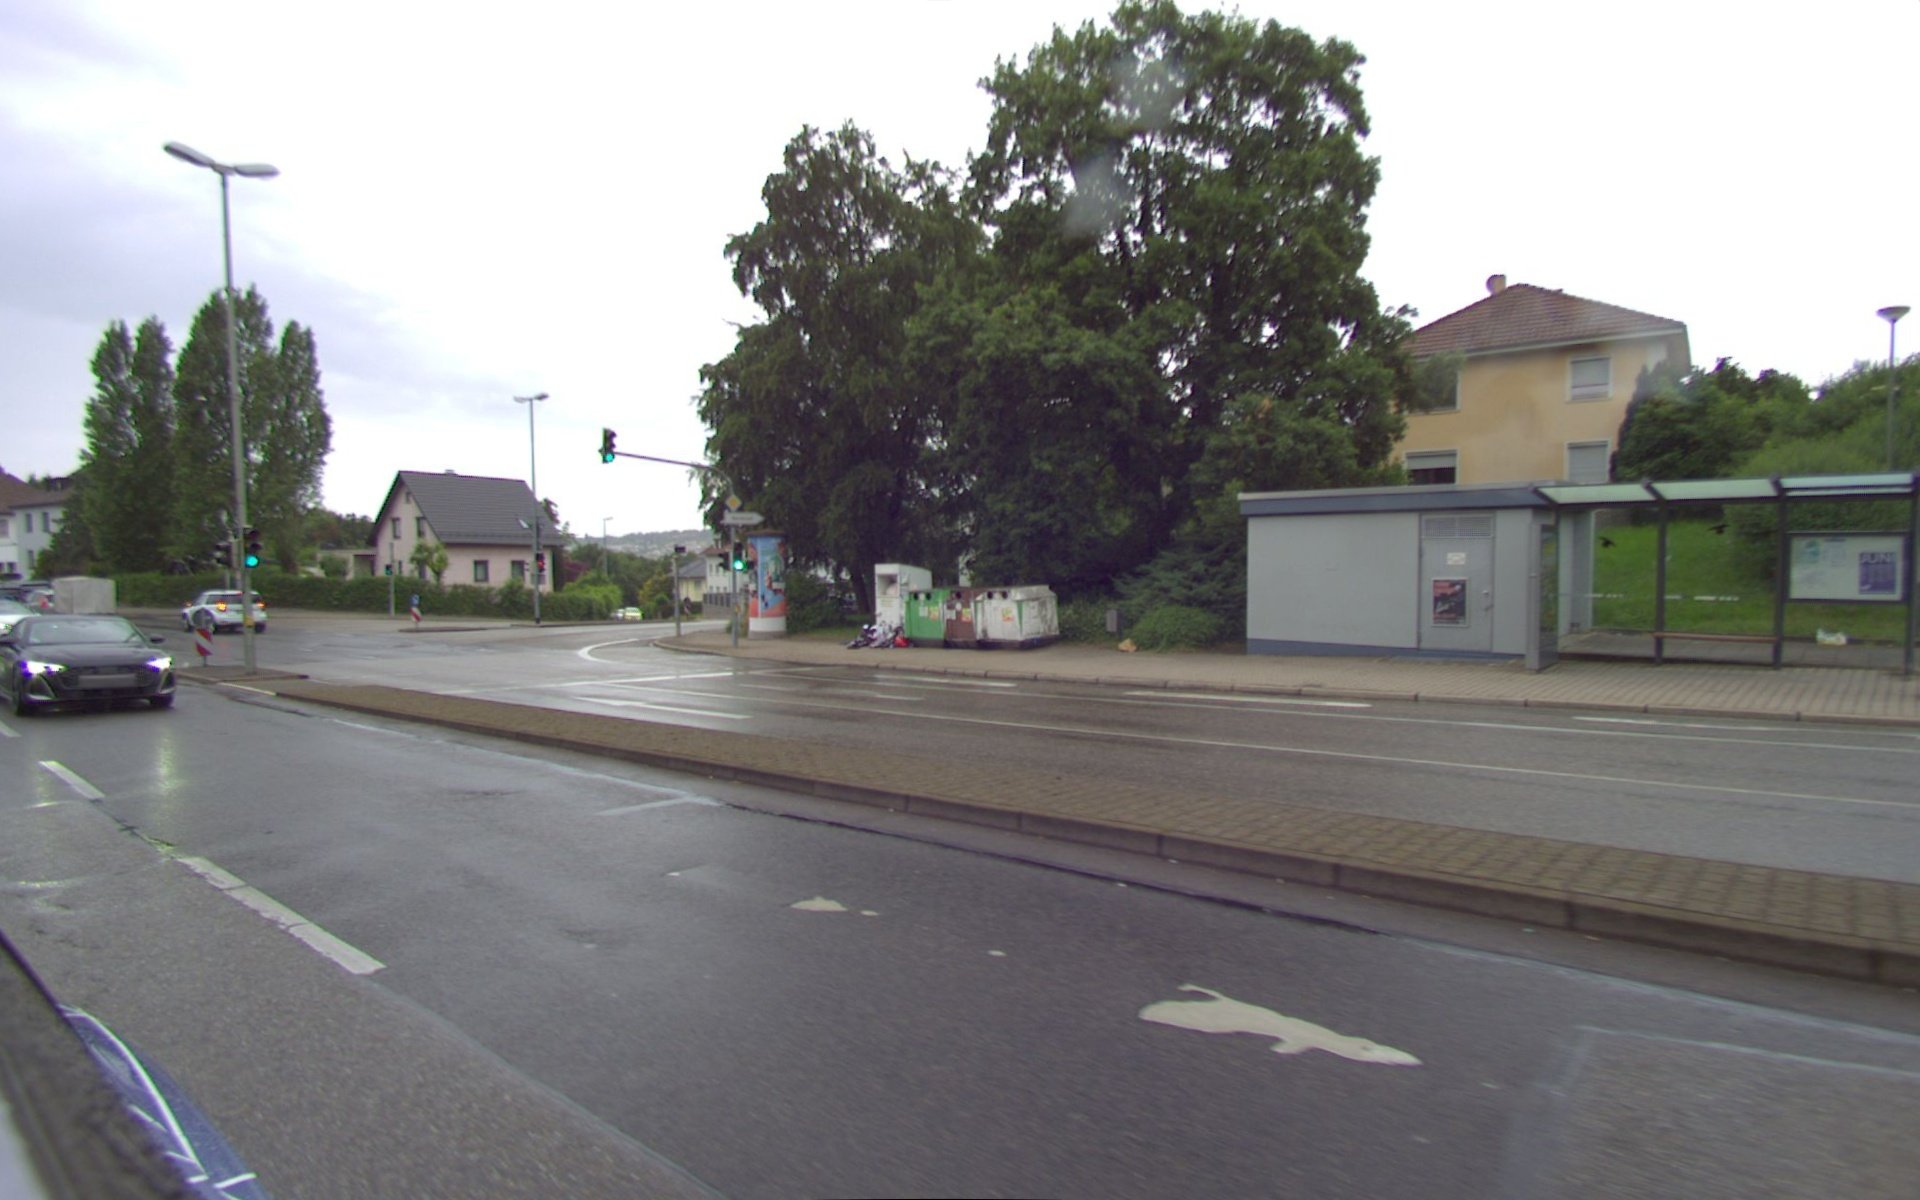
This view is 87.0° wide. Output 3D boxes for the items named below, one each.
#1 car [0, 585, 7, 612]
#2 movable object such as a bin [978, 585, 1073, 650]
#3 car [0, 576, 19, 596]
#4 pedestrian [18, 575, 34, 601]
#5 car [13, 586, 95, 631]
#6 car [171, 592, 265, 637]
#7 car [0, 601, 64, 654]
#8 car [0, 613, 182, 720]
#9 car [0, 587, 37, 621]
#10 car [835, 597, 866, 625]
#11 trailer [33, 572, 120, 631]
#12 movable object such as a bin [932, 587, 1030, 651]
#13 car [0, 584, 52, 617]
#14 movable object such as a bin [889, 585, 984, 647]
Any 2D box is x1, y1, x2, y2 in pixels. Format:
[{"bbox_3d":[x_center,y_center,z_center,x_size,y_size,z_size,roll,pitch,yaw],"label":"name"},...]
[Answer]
[{"bbox_3d":[-57.938,-0.127,59.530,4.130,1.580,1.791,2,2,32],"label":"car"},{"bbox_3d":[1.641,0.417,25.113,1.344,1.526,2.035,-1,0,43],"label":"movable object such as a bin"},{"bbox_3d":[-73.220,-0.946,75.523,1.878,1.430,3.958,1,4,32],"label":"car"},{"bbox_3d":[-67.619,-0.877,73.252,0.538,1.801,0.663,2,5,35],"label":"pedestrian"},{"bbox_3d":[-37.992,0.300,42.401,4.475,1.695,1.881,2,2,39],"label":"car"},{"bbox_3d":[-29.361,0.535,40.006,4.458,1.669,1.807,1,1,37],"label":"car"},{"bbox_3d":[-31.513,0.839,32.823,4.622,1.540,1.900,1,2,23],"label":"car"},{"bbox_3d":[-14.171,0.941,16.060,4.853,1.408,1.886,-1,1,40],"label":"car"},{"bbox_3d":[-45.742,0.155,48.255,4.376,1.563,1.824,1,1,37],"label":"car"},{"bbox_3d":[-6.982,0.680,65.009,1.909,1.717,4.201,1,0,-5],"label":"car"},{"bbox_3d":[-34.682,0.023,39.694,4.031,2.195,1.878,0,1,39],"label":"trailer"},{"bbox_3d":[0.548,0.473,26.156,1.581,1.580,2.035,-1,0,43],"label":"movable object such as a bin"},{"bbox_3d":[-52.126,0.003,55.897,4.584,1.682,1.791,2,2,32],"label":"car"},{"bbox_3d":[-0.628,0.417,27.241,1.581,1.580,2.035,-1,0,43],"label":"movable object such as a bin"}]
